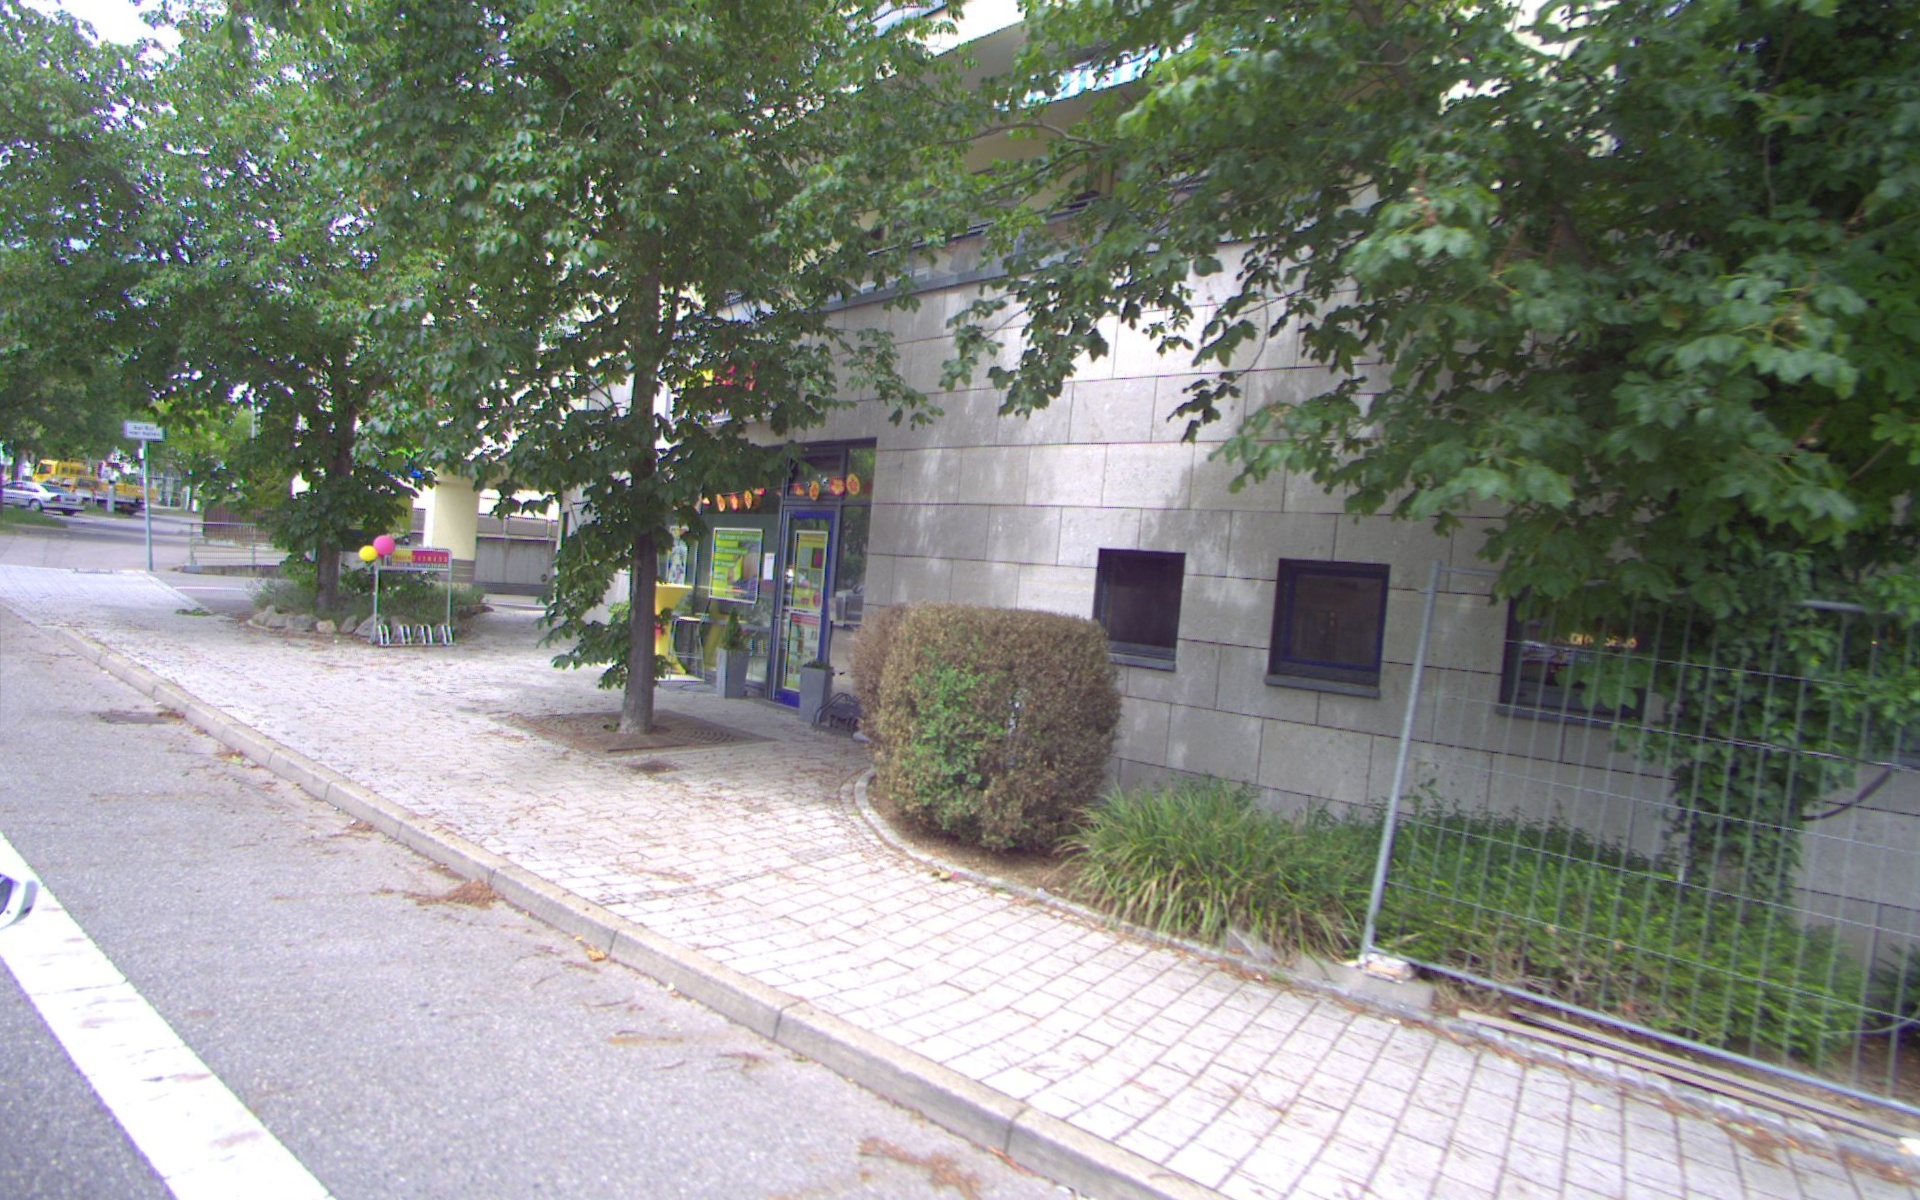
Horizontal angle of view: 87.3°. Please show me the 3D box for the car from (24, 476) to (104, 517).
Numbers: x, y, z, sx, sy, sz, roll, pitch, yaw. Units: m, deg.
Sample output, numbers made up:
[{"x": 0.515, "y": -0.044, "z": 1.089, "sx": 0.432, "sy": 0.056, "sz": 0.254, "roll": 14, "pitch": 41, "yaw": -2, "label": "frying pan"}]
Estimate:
[{"x": -57.666, "y": -6.656, "z": 64.845, "sx": 1.711, "sy": 2.038, "sz": 3.766, "roll": 6, "pitch": -1, "yaw": -2, "label": "car"}]

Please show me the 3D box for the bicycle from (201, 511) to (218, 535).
[{"x": -36.569, "y": -3.742, "z": 49.042, "sx": 0.458, "sy": 1.047, "sz": 2.738, "roll": 5, "pitch": 0, "yaw": -34, "label": "bicycle"}]

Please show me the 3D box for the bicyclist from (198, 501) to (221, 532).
[{"x": -36.729, "y": -4.084, "z": 49.233, "sx": 0.773, "sy": 1.417, "sz": 0.695, "roll": 5, "pitch": 0, "yaw": -36, "label": "bicyclist"}]

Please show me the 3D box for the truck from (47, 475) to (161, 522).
[{"x": -53.187, "y": -6.251, "z": 62.675, "sx": 2.050, "sy": 2.038, "sz": 5.617, "roll": 6, "pitch": -1, "yaw": 2, "label": "truck"}]
